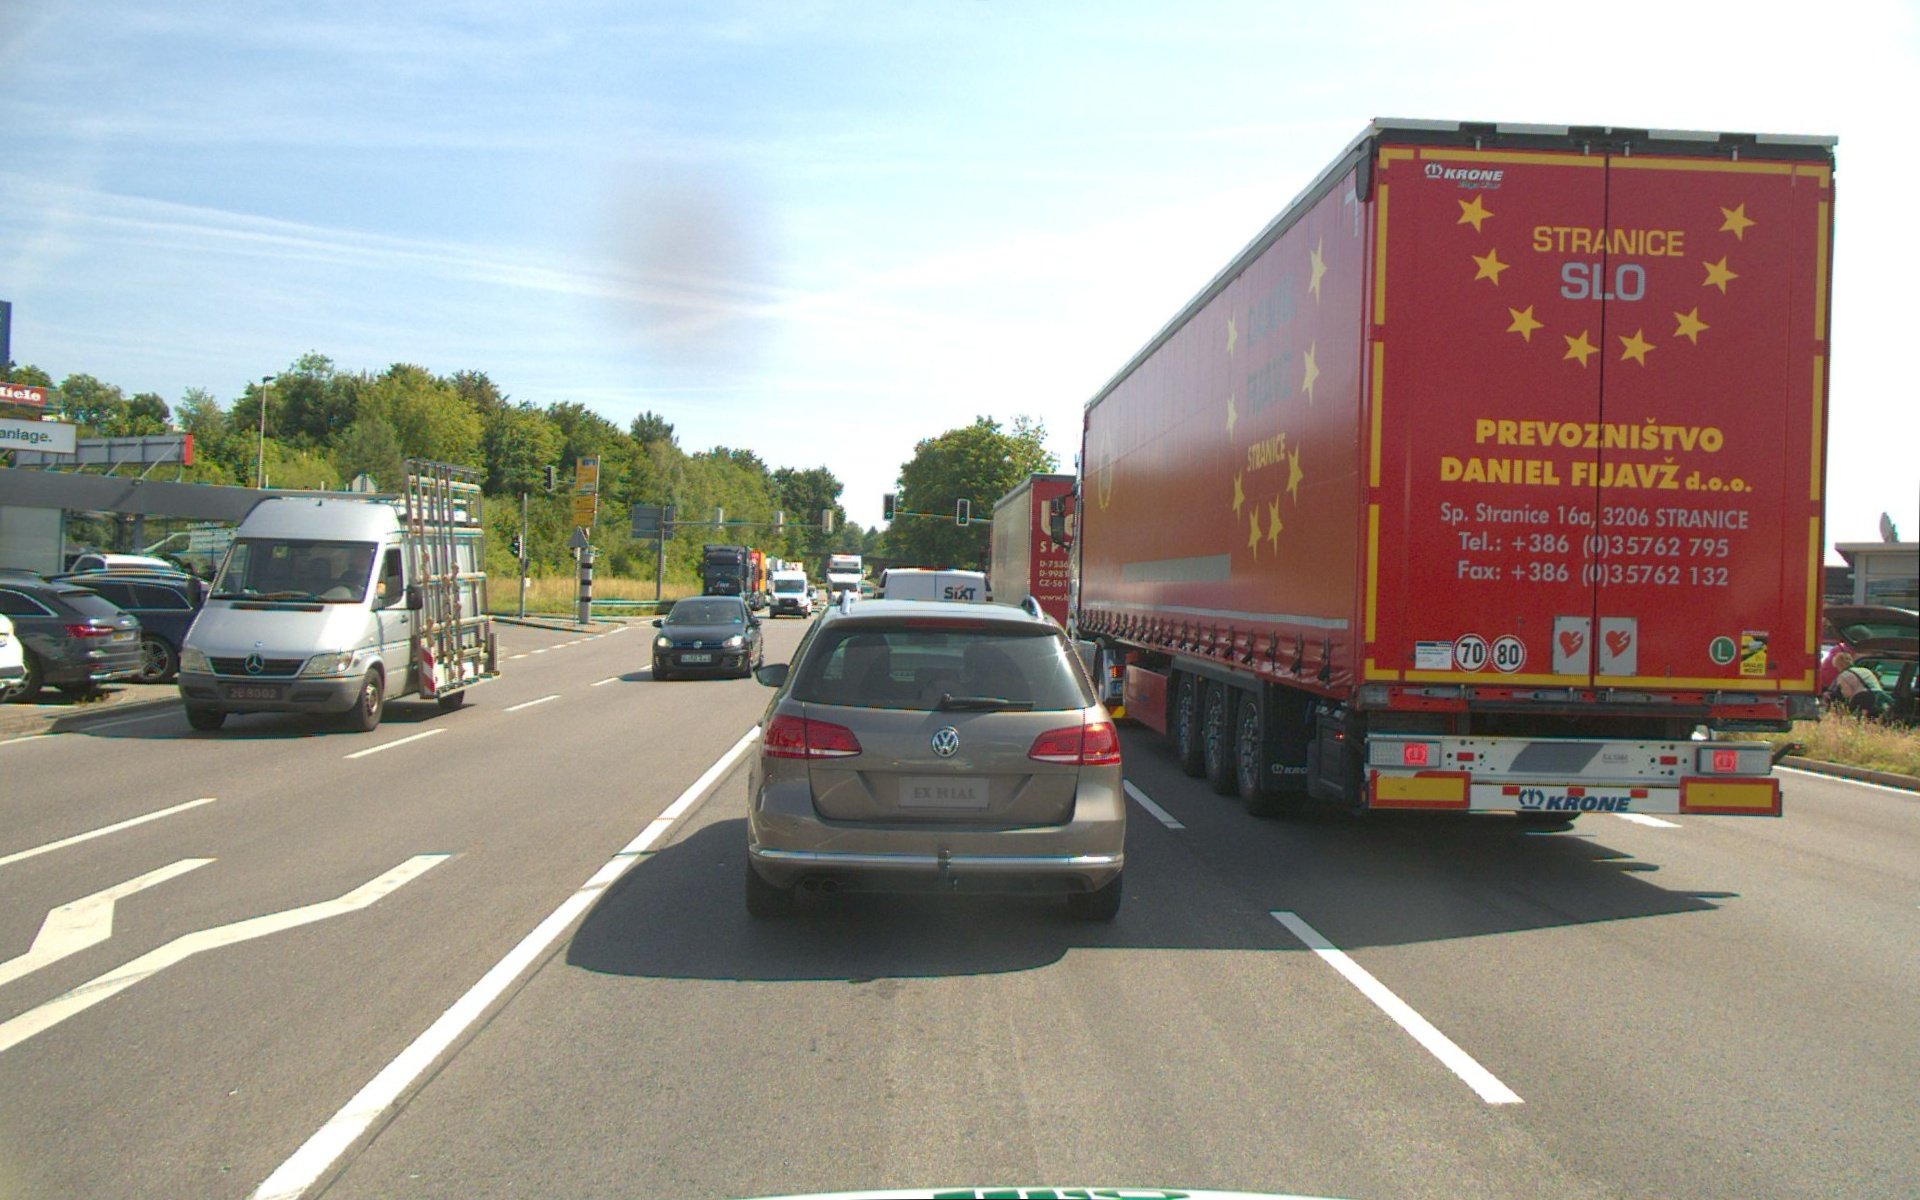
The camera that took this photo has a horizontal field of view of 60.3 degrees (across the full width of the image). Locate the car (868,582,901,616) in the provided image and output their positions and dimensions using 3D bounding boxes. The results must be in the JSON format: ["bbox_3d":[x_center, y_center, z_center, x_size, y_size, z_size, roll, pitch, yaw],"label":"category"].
[{"bbox_3d":[-4.493,-0.047,98.508,1.691,1.942,3.312,2,-1,1],"label":"car"}]

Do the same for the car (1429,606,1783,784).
[{"bbox_3d":[6.146,0.828,16.261,1.627,1.497,3.995,1,0,-5],"label":"car"}]

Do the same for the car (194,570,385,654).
[{"bbox_3d":[-14.532,0.227,35.840,3.743,1.723,1.840,1,0,27],"label":"car"}]

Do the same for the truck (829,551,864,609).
[{"bbox_3d":[-8.836,-1.562,129.236,2.501,4.383,7.592,0,0,-2],"label":"truck"}]

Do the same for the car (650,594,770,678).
[{"bbox_3d":[-4.526,0.612,30.397,1.632,1.434,3.925,-1,0,-1],"label":"car"}]

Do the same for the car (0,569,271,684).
[{"bbox_3d":[-12.246,0.365,23.968,3.740,1.566,1.841,1,0,-3],"label":"car"}]

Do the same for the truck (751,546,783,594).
[{"bbox_3d":[-16.195,-2.485,138.946,2.484,3.852,6.981,0,0,-6],"label":"truck"}]

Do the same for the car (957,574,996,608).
[{"bbox_3d":[0.774,-0.415,80.057,1.692,1.545,3.310,2,-1,-2],"label":"car"}]

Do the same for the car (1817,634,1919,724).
[{"bbox_3d":[18.215,1.483,32.028,1.964,1.558,3.977,2,0,41],"label":"car"}]

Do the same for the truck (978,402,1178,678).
[{"bbox_3d":[2.399,-1.213,40.741,3.001,5.312,17.000,1,0,-2],"label":"truck"}]

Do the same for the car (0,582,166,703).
[{"bbox_3d":[-12.478,0.511,21.156,3.740,1.473,1.841,1,0,-3],"label":"car"}]

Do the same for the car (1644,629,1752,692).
[{"bbox_3d":[19.963,1.599,44.672,1.656,1.558,3.576,2,0,41],"label":"car"}]

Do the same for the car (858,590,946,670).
[{"bbox_3d":[-1.166,0.606,34.658,1.691,1.545,3.312,2,-1,0],"label":"car"}]

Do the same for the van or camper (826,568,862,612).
[{"bbox_3d":[-8.004,-0.647,114.432,2.179,2.890,5.708,2,-1,-2],"label":"van or camper"}]

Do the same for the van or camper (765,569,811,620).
[{"bbox_3d":[-9.150,-0.294,88.363,2.130,2.596,4.168,1,0,-3],"label":"van or camper"}]

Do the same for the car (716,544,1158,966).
[{"bbox_3d":[-0.054,0.618,8.361,1.753,1.667,3.504,0,0,1],"label":"car"}]

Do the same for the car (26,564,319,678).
[{"bbox_3d":[-12.432,0.320,26.298,3.740,1.704,1.841,1,0,-3],"label":"car"}]

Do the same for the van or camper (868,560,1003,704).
[{"bbox_3d":[-0.415,0.427,24.717,1.815,1.939,3.783,2,0,-3],"label":"van or camper"}]

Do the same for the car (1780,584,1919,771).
[{"bbox_3d":[11.439,0.845,19.006,3.788,1.954,1.688,1,0,-27],"label":"car"}]

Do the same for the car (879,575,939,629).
[{"bbox_3d":[-1.531,0.085,50.330,1.691,1.545,3.312,2,-1,0],"label":"car"}]

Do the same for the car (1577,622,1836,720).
[{"bbox_3d":[13.746,1.267,30.663,1.973,1.558,3.959,2,0,-30],"label":"car"}]

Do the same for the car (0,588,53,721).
[{"bbox_3d":[-12.587,0.589,18.572,3.740,1.473,1.841,1,0,-3],"label":"car"}]

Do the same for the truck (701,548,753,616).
[{"bbox_3d":[-13.598,-1.054,96.939,2.758,3.852,6.981,0,0,-6],"label":"truck"}]

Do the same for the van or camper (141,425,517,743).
[{"bbox_3d":[-7.039,-0.173,19.335,2.162,3.109,5.901,1,0,-1],"label":"van or camper"}]

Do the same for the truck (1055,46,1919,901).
[{"bbox_3d":[3.228,-0.687,16.843,2.897,4.344,16.577,1,0,-2],"label":"truck"}]
